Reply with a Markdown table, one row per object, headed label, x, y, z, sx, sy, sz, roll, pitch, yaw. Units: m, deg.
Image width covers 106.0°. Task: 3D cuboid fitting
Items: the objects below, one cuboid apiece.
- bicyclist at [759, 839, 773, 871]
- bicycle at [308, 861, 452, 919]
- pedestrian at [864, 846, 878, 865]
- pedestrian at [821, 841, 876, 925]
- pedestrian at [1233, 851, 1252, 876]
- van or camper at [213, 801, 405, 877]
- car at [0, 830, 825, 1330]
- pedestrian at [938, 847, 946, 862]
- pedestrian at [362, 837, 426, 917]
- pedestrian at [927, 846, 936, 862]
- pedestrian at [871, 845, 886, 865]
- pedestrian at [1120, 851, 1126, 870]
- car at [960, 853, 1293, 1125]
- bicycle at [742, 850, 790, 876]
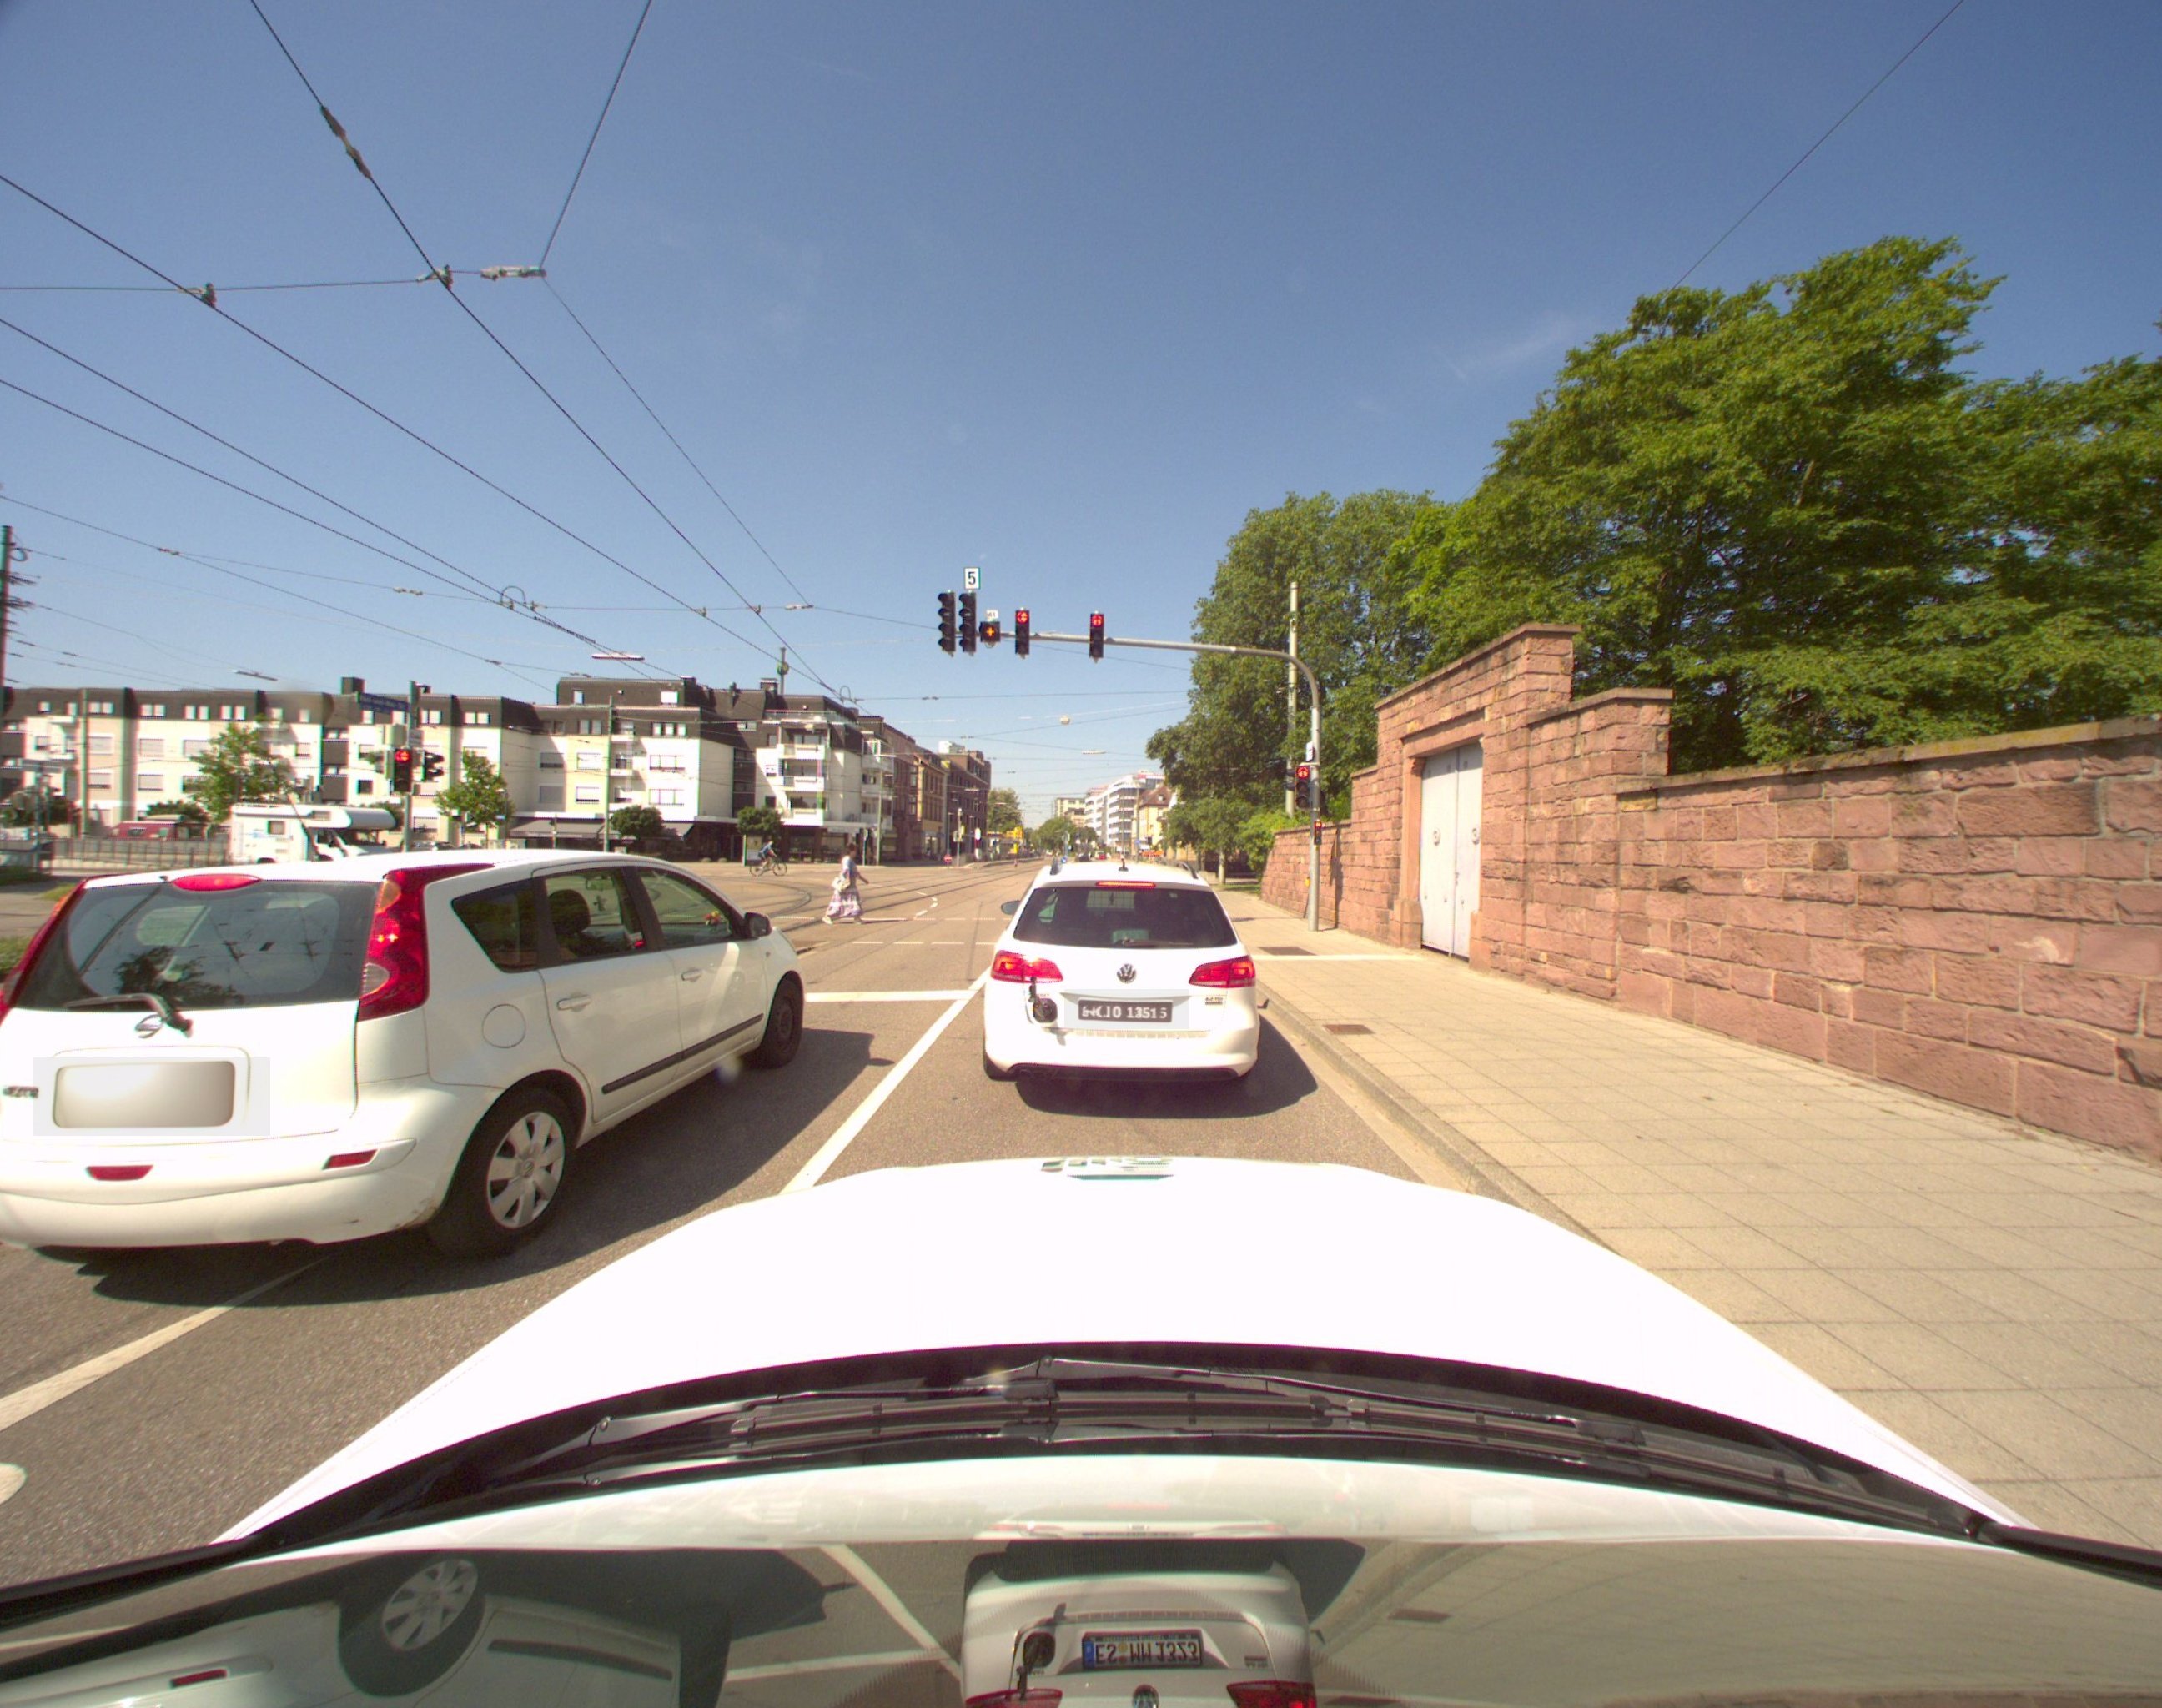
| label | x | y | z | sx | sy | sz | roll | pitch | yaw |
| --- | --- | --- | --- | --- | --- | --- | --- | --- | --- |
| bicyclist | -16.034 | 0.058 | 41.430 | 0.639 | 1.612 | 0.558 | 0 | -1 | -26 |
| bicycle | -13.719 | 0.697 | 15.989 | 2.021 | 1.090 | 0.707 | 1 | 0 | -13 |
| pedestrian | -19.259 | 0.144 | 74.569 | 0.855 | 1.743 | 0.978 | -1 | -1 | 13 |
| pedestrian | -4.759 | 0.572 | 16.658 | 0.976 | 1.651 | 0.949 | 0 | -1 | -23 |
| pedestrian | 11.317 | 0.653 | 56.996 | 0.962 | 1.743 | 0.870 | -2 | -1 | 38 |
| van or camper | -33.091 | -0.596 | 35.092 | 5.669 | 3.093 | 2.573 | -1 | -1 | -2 |
| car | -2.878 | 0.686 | 4.460 | 1.636 | 1.566 | 3.805 | -1 | 1 | 2 |
| pedestrian | -16.925 | 0.083 | 99.241 | 0.860 | 1.743 | 0.973 | -1 | -1 | -4 |
| pedestrian | -13.814 | 0.443 | 16.394 | 0.746 | 1.571 | 0.672 | -1 | 0 | -13 |
| pedestrian | -17.124 | -0.007 | 93.286 | 0.860 | 1.743 | 0.973 | -1 | -1 | -4 |
| pedestrian | -18.254 | 0.116 | 73.432 | 0.979 | 1.743 | 0.855 | 0 | -1 | -37 |
| pedestrian | 5.337 | 0.830 | 104.036 | 0.687 | 2.325 | 1.233 | -1 | -1 | 3 |
| car | 0.303 | 0.737 | 6.457 | 1.801 | 1.448 | 4.001 | 1 | 0 | 1 |
| bicycle | -16.007 | 0.430 | 41.437 | 2.253 | 1.297 | 0.555 | 0 | -1 | -26 |
